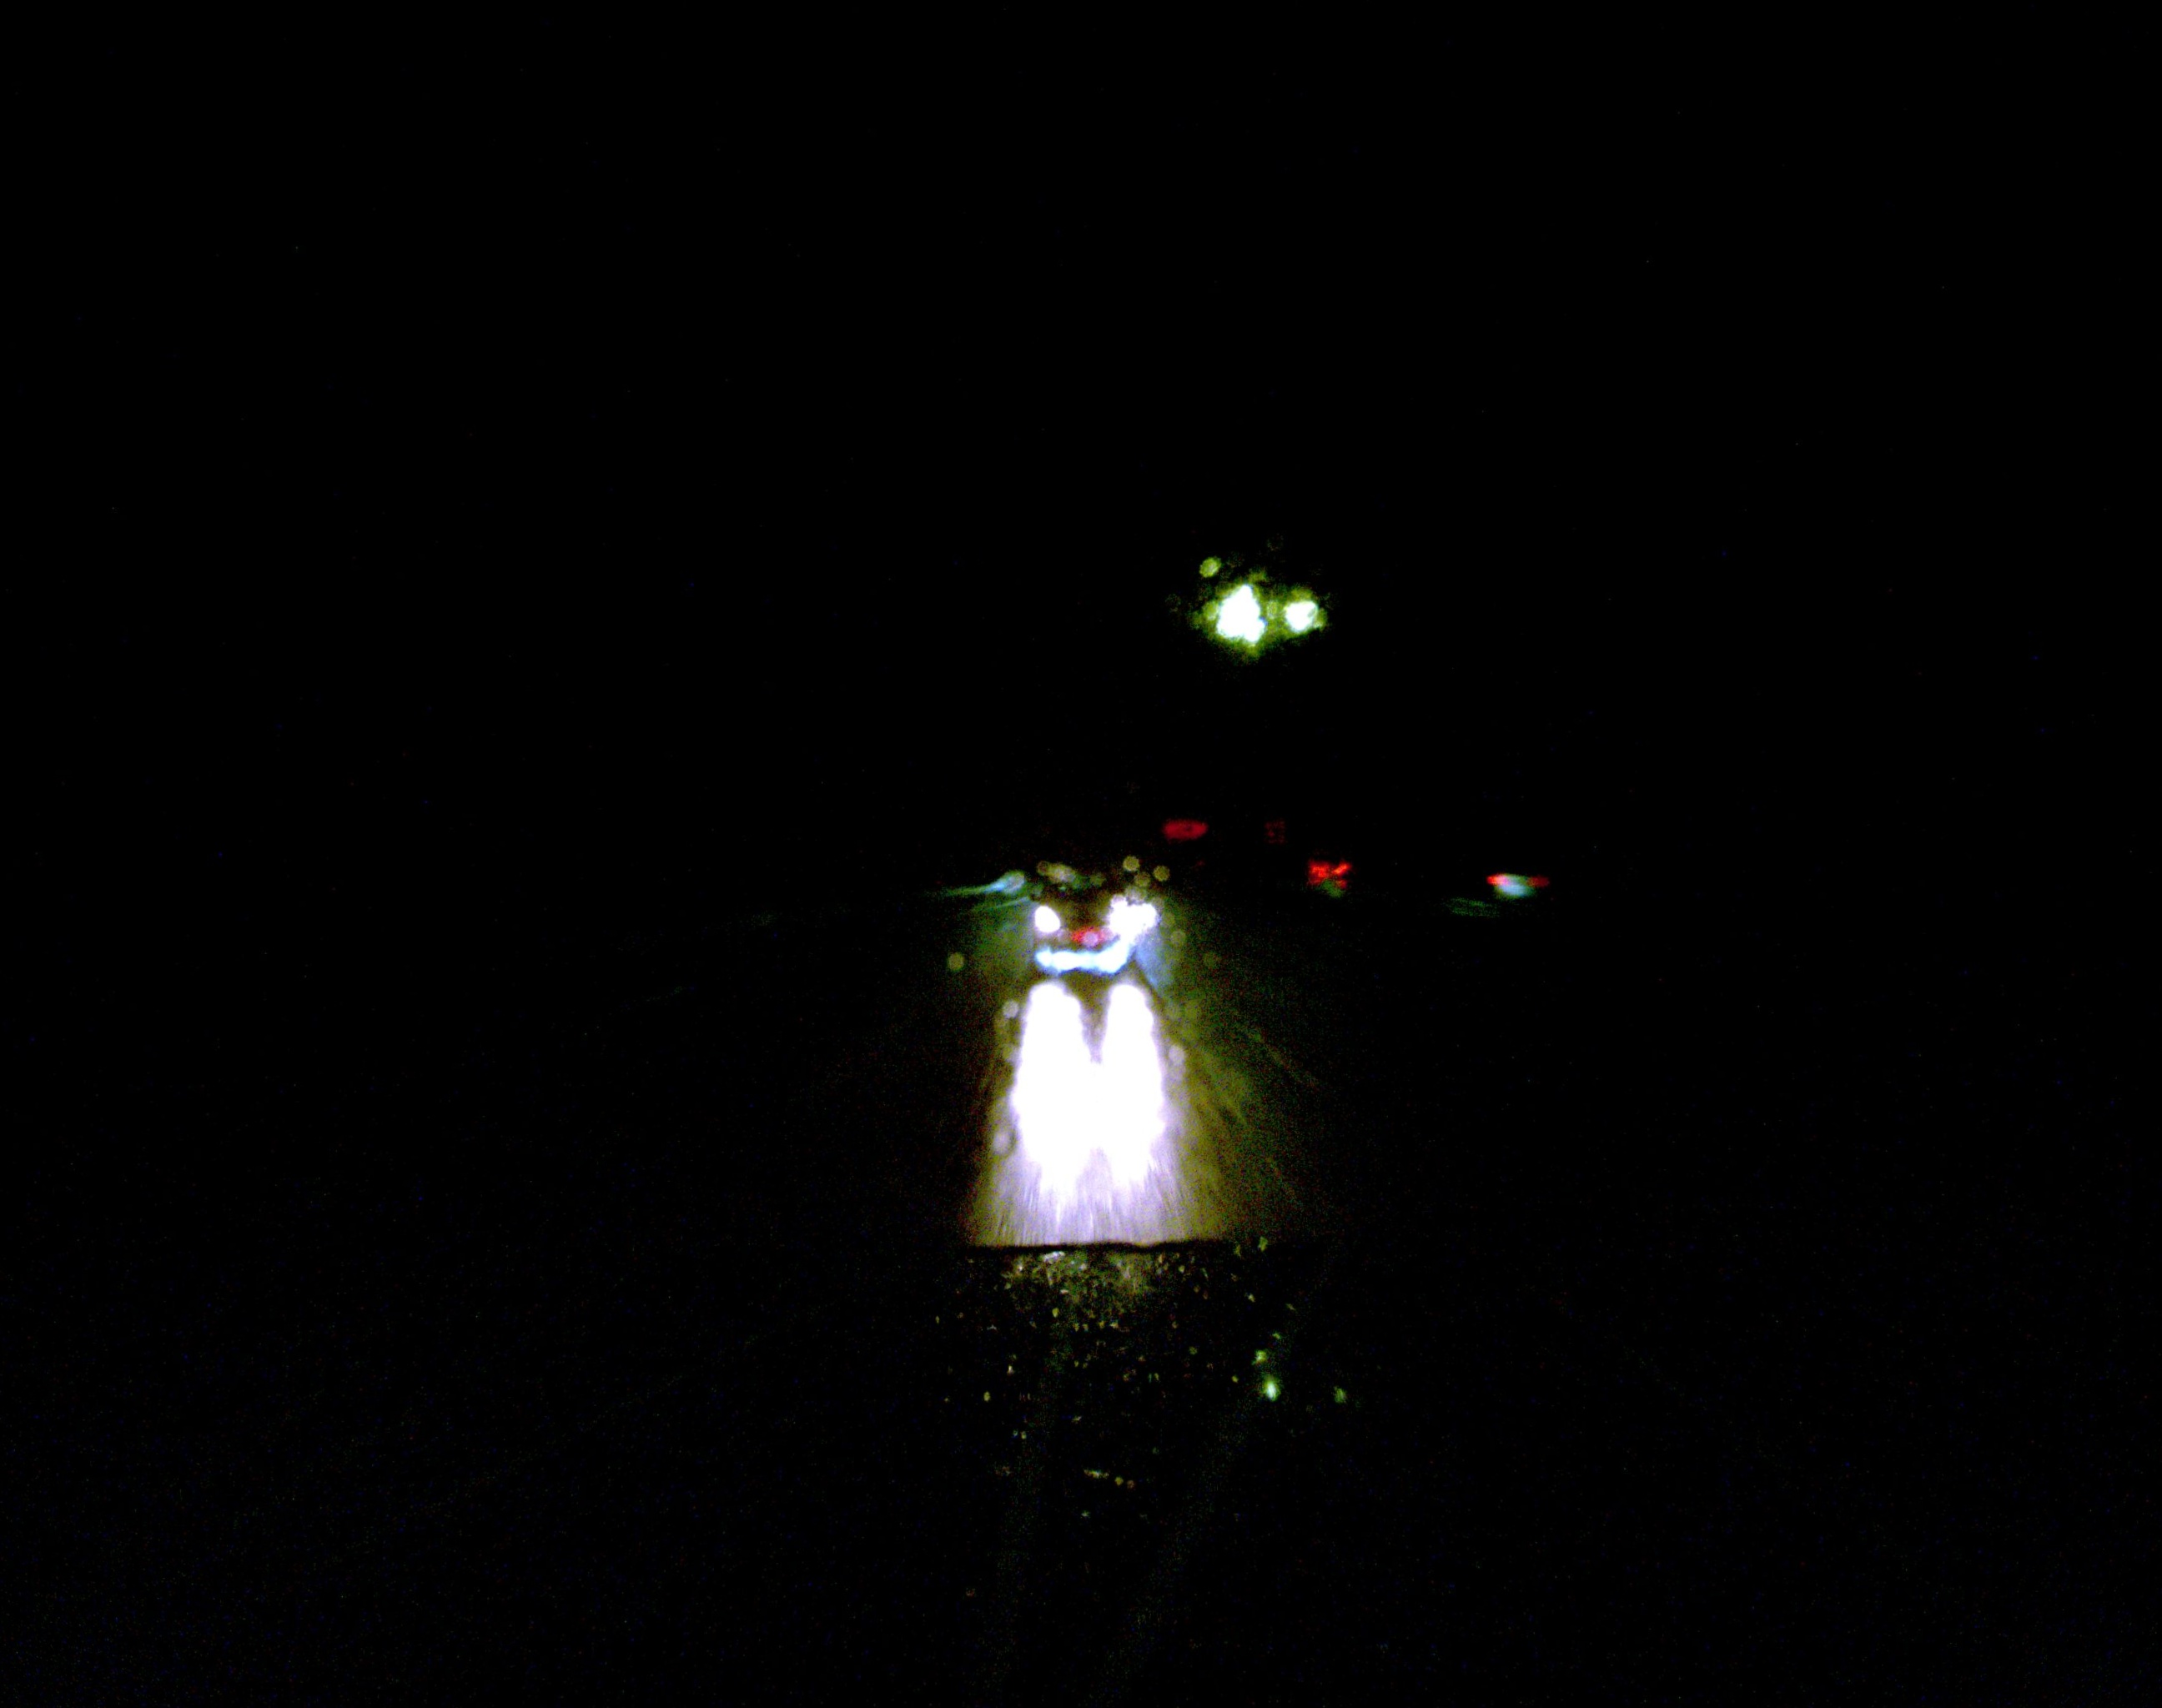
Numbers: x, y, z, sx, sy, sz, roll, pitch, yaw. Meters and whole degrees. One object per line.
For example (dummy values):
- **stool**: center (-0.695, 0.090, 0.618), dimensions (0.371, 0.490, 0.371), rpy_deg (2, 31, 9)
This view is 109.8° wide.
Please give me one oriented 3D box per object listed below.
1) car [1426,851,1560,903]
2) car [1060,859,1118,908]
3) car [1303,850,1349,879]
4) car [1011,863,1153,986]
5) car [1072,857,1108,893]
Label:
- **car**: center (14.342, 0.723, 26.819), dimensions (2.028, 1.494, 4.895), rpy_deg (-3, 1, 0)
- **car**: center (0.353, 0.998, 27.319), dimensions (1.849, 1.441, 3.875), rpy_deg (-3, 1, 2)
- **car**: center (15.017, 0.619, 46.771), dimensions (1.604, 1.543, 3.833), rpy_deg (-3, 1, 1)
- **car**: center (0.166, 0.982, 12.246), dimensions (1.848, 1.441, 4.000), rpy_deg (-3, 1, 4)
- **car**: center (0.442, 1.085, 41.246), dimensions (1.784, 1.696, 3.999), rpy_deg (-3, 1, -1)
